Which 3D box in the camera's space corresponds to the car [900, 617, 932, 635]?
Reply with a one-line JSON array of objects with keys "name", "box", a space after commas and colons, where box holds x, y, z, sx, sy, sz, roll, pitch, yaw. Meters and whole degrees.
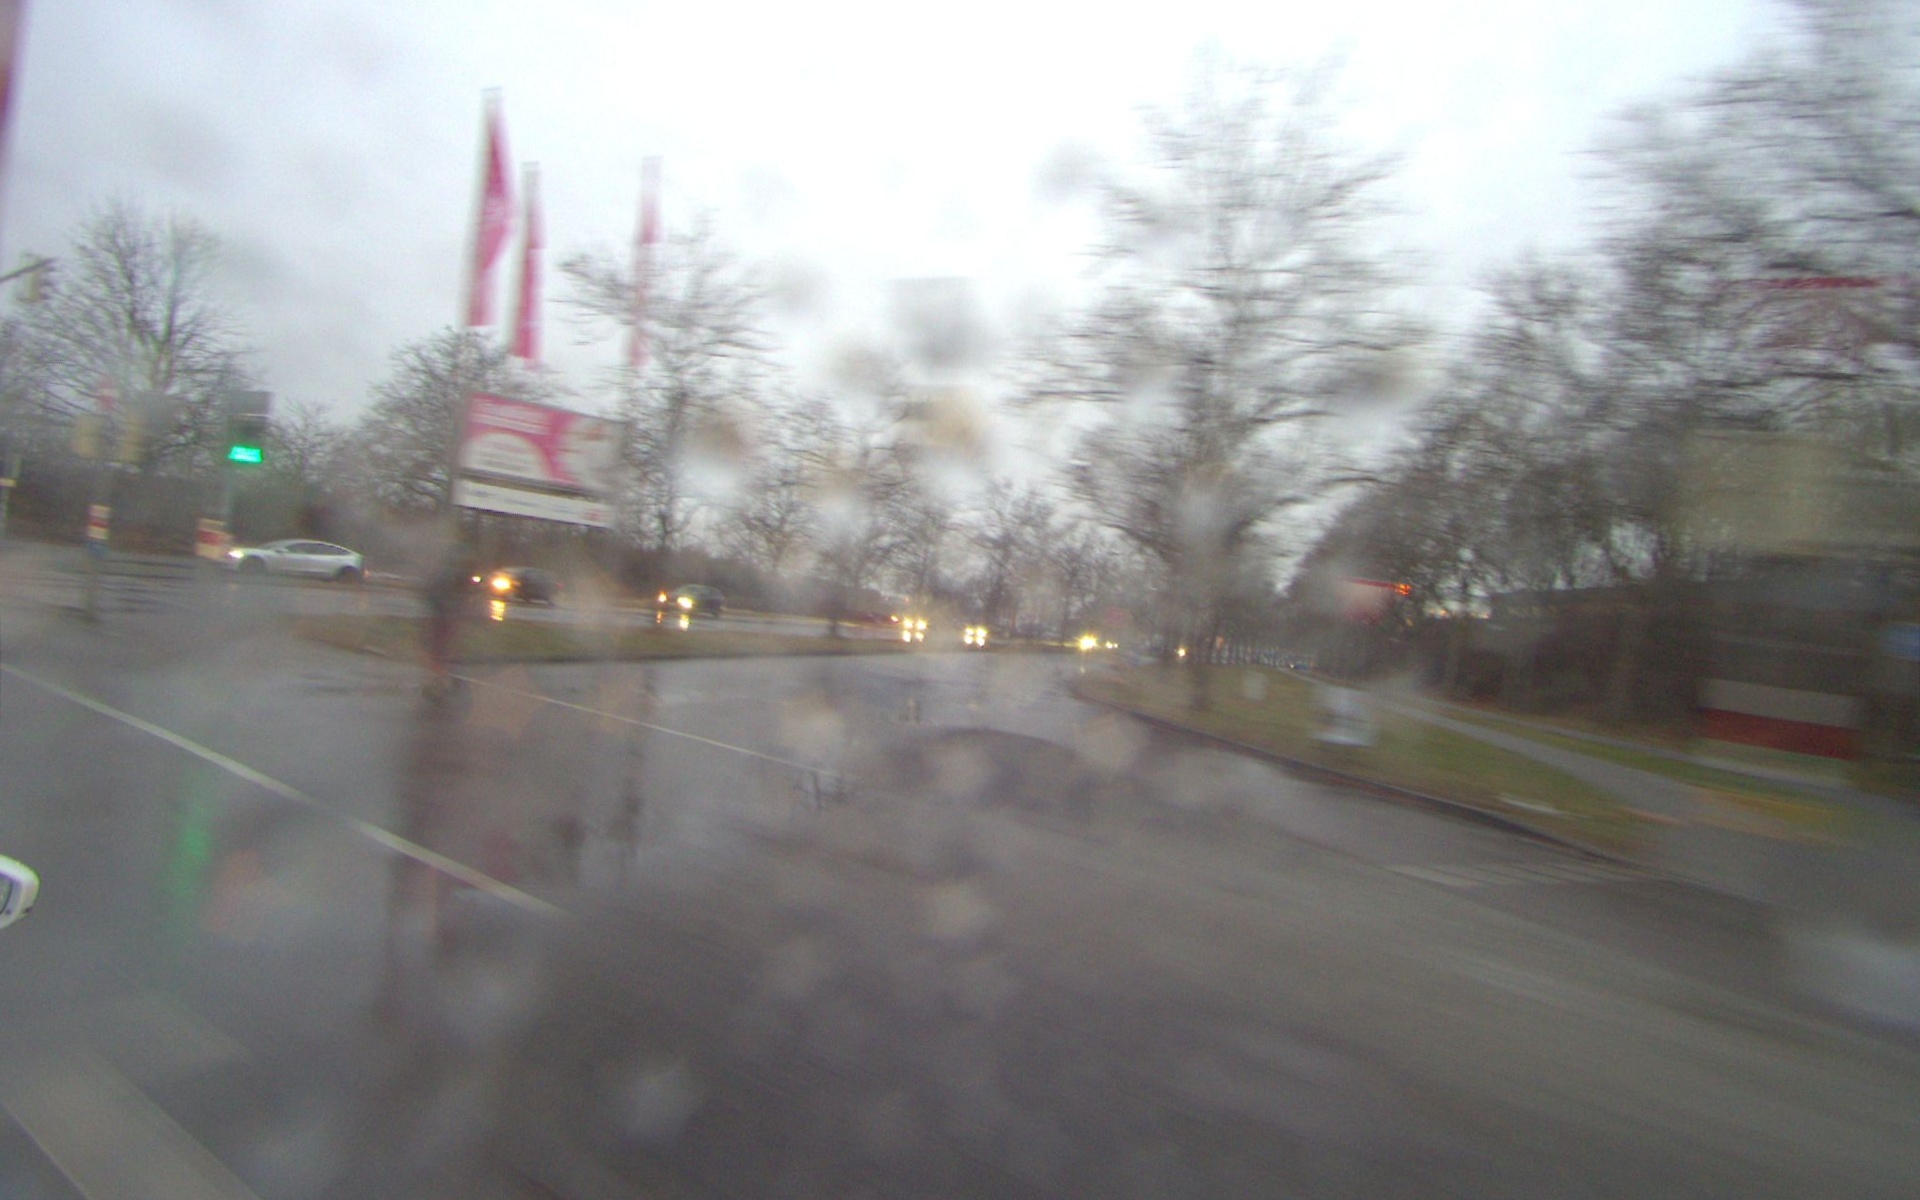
[{"name": "car", "box": [-4.108, 2.431, 94.124, 1.627, 1.361, 3.891, 7, -1, 18]}]

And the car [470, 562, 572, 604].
[{"name": "car", "box": [-18.453, -0.689, 42.440, 1.606, 1.325, 4.002, 7, -1, 18]}]

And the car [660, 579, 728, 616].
[{"name": "car", "box": [-14.669, -0.086, 55.763, 1.627, 1.655, 3.891, 7, -1, 18]}]

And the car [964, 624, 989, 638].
[{"name": "car", "box": [1.851, 3.501, 113.373, 1.627, 1.361, 3.891, 7, -1, 18]}]

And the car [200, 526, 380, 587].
[{"name": "car", "box": [-22.839, -1.466, 34.468, 1.856, 1.392, 4.735, 6, -2, 41]}]
